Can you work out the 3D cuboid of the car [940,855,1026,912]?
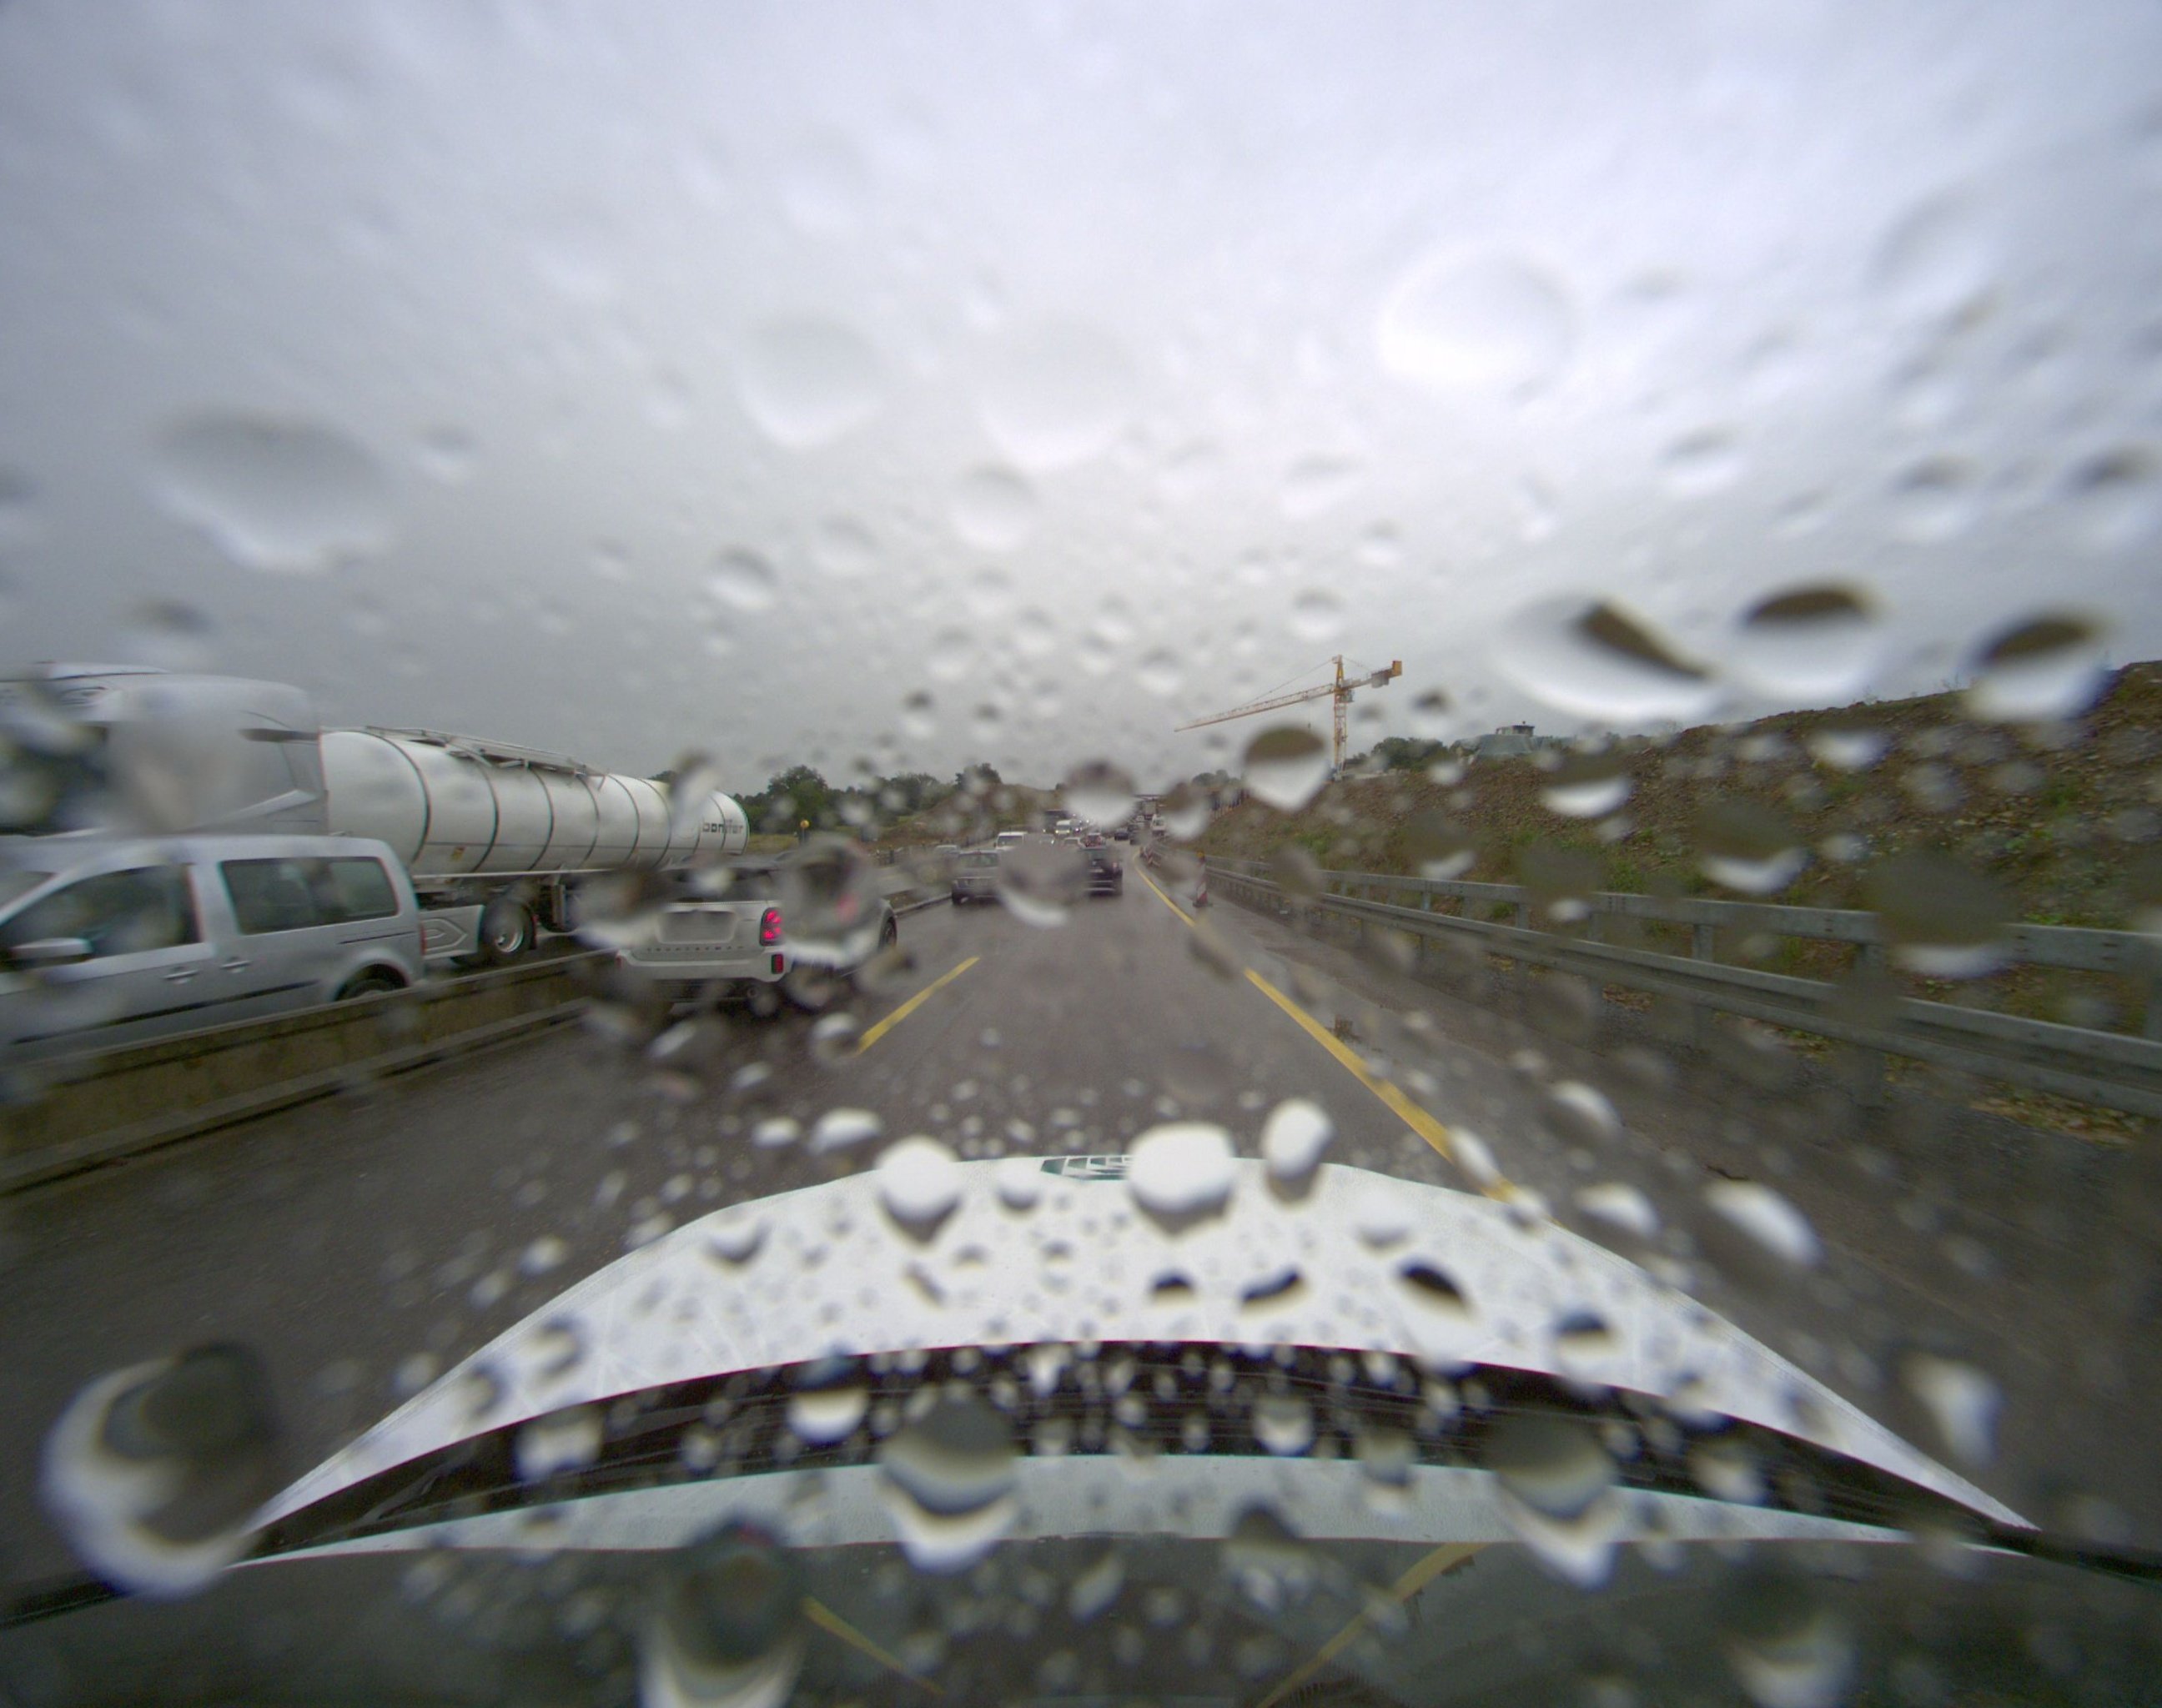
[{"bbox_3d":[-2.999,0.862,25.751,1.985,1.600,4.143,-1,0,3],"label":"car"}]

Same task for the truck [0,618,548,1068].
[{"bbox_3d":[-10.050,-0.065,9.894,2.611,3.677,6.597,-1,0,1],"label":"truck"}]

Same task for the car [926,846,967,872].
[{"bbox_3d":[-8.404,0.267,51.218,1.781,1.546,4.002,-1,1,2],"label":"car"}]

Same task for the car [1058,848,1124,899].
[{"bbox_3d":[0.415,0.634,28.153,2.073,1.600,4.143,-1,0,3],"label":"car"}]

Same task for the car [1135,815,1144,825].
[{"bbox_3d":[12.644,-7.242,175.182,1.842,1.894,4.024,-1,0,3],"label":"car"}]

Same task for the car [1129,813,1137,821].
[{"bbox_3d":[13.617,-9.752,214.593,1.986,2.013,4.002,-2,1,2],"label":"car"}]

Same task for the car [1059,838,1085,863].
[{"bbox_3d":[-0.701,-0.254,68.010,1.986,2.014,3.894,-1,0,1],"label":"car"}]

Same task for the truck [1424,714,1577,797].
[{"bbox_3d":[20.145,-4.606,39.946,3.380,2.875,8.968,-1,0,4],"label":"truck"}]

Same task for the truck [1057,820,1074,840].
[{"bbox_3d":[-2.195,-3.338,114.991,2.140,2.713,6.018,-1,1,1],"label":"truck"}]

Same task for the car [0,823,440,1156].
[{"bbox_3d":[-6.758,0.753,5.241,1.859,1.800,4.164,-1,0,2],"label":"car"}]

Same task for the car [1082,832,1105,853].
[{"bbox_3d":[1.397,-1.205,88.793,1.983,2.163,4.149,-1,0,7],"label":"car"}]

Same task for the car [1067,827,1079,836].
[{"bbox_3d":[-1.285,-3.689,131.956,1.862,1.471,4.672,-1,2,1],"label":"car"}]

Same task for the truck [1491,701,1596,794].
[{"bbox_3d":[25.003,-5.652,44.372,2.364,4.218,5.981,-1,0,1],"label":"truck"}]

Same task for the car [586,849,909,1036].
[{"bbox_3d":[-3.373,0.761,9.284,1.809,1.600,4.309,-1,0,1],"label":"car"}]

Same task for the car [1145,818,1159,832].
[{"bbox_3d":[12.299,-5.047,141.483,1.981,2.163,4.153,-1,0,11],"label":"car"}]

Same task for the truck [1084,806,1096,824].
[{"bbox_3d":[2.878,-12.225,257.607,3.129,5.417,8.531,-1,2,3],"label":"truck"}]

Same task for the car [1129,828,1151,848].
[{"bbox_3d":[6.928,-1.871,95.570,1.981,2.163,4.153,-1,0,11],"label":"car"}]

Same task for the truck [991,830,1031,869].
[{"bbox_3d":[-4.833,-0.278,57.218,2.071,2.576,5.964,-1,0,2],"label":"truck"}]

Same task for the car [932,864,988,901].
[{"bbox_3d":[-5.684,1.322,38.734,1.766,1.504,4.681,-2,0,2],"label":"car"}]

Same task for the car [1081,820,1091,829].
[{"bbox_3d":[0.967,-5.930,164.166,1.731,1.684,5.556,-1,2,2],"label":"car"}]

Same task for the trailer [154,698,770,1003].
[{"bbox_3d":[-9.883,-0.042,15.976,2.611,3.677,12.007,-1,0,1],"label":"trailer"}]

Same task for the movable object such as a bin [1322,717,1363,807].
[{"bbox_3d":[35.045,-12.056,109.598,4.682,10.842,10.348,-1,0,16],"label":"movable object such as a bin"}]

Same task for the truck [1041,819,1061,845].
[{"bbox_3d":[-4.674,-3.516,128.705,2.632,3.969,9.216,-1,2,1],"label":"truck"}]

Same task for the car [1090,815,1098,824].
[{"bbox_3d":[2.995,-7.781,185.012,1.778,1.810,4.502,-1,0,2],"label":"car"}]

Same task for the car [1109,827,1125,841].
[{"bbox_3d":[4.761,-2.634,107.959,1.985,1.761,3.817,-1,0,3],"label":"car"}]

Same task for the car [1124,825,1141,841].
[{"bbox_3d":[7.681,-3.101,120.185,1.981,2.163,4.153,-1,0,10],"label":"car"}]

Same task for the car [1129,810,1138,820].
[{"bbox_3d":[12.225,-9.104,190.825,1.986,2.013,4.002,-2,1,2],"label":"car"}]

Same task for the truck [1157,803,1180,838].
[{"bbox_3d":[14.756,-5.453,136.769,3.083,5.426,9.468,-1,0,10],"label":"truck"}]

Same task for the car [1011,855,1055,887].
[{"bbox_3d":[-2.507,0.863,43.540,1.987,1.600,4.141,-1,0,1],"label":"car"}]

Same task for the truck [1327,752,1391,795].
[{"bbox_3d":[21.234,-6.093,62.605,2.636,2.554,6.986,-1,0,1],"label":"truck"}]

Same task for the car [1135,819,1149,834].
[{"bbox_3d":[9.827,-4.449,131.300,1.983,2.163,4.149,-1,0,7],"label":"car"}]

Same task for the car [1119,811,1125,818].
[{"bbox_3d":[12.907,-12.328,256.179,1.986,2.014,4.001,-1,0,1],"label":"car"}]

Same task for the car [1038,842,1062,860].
[{"bbox_3d":[-2.727,-0.298,72.593,1.780,1.538,4.314,-2,1,2],"label":"car"}]

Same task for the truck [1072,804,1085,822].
[{"bbox_3d":[-0.761,-11.322,225.797,3.070,4.918,8.572,-1,2,3],"label":"truck"}]

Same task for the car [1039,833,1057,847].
[{"bbox_3d":[-3.690,-1.637,92.628,1.670,1.524,4.347,-2,1,2],"label":"car"}]

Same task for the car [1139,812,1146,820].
[{"bbox_3d":[17.606,-10.815,233.312,1.986,2.014,4.001,-1,0,1],"label":"car"}]

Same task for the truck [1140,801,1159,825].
[{"bbox_3d":[16.577,-9.880,197.687,3.790,5.042,12.925,-1,0,1],"label":"truck"}]

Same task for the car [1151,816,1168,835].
[{"bbox_3d":[11.313,-4.055,116.859,1.981,2.484,4.996,-1,0,10],"label":"car"}]
